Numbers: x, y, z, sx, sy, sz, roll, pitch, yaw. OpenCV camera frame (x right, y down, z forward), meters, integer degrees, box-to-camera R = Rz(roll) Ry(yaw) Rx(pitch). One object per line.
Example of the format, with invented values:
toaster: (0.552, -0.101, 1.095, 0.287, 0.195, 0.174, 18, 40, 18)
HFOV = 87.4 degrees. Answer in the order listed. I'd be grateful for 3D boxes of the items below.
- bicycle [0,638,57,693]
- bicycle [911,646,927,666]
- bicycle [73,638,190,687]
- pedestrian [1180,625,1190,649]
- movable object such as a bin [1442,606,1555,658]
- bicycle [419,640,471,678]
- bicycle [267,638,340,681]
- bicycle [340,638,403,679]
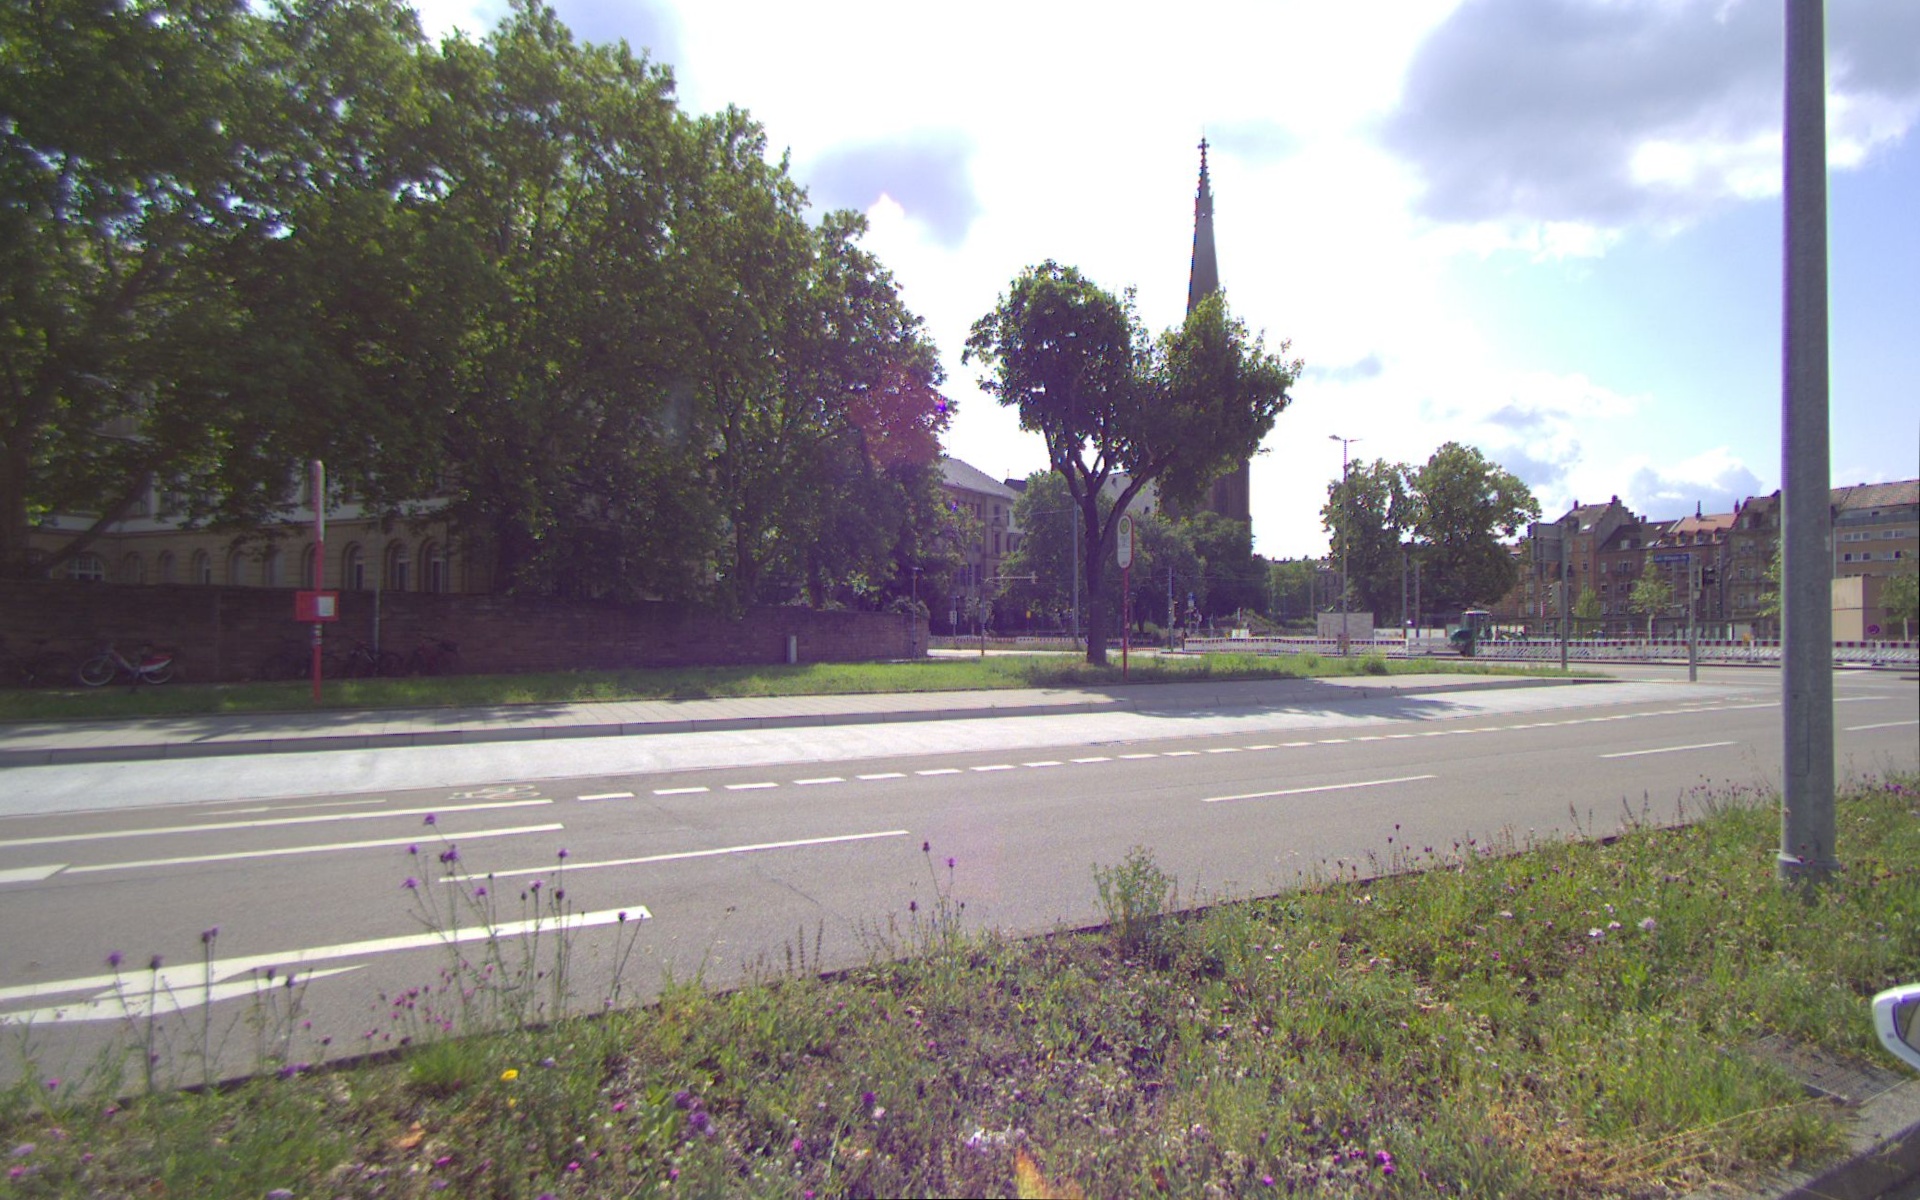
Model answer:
bicycle: (-19.618, 1.334, 20.404, 0.576, 1.087, 1.859, -1, -2, 44)
bicycle: (-2.123, 2.887, 51.918, 0.386, 1.005, 1.524, 0, -2, 14)
bicycle: (-18.355, 1.357, 22.289, 0.465, 1.024, 1.954, -1, -2, 40)
pedestrian: (17.526, 2.902, 78.247, 0.492, 1.874, 0.527, 1, -2, -21)
movable object such as a bin: (31.250, 1.845, 58.509, 5.431, 2.922, 2.289, 0, -2, 16)
bicycle: (-14.362, 1.630, 28.029, 0.348, 1.024, 1.248, -1, -1, 40)
bicycle: (-16.355, 1.473, 25.063, 0.465, 1.024, 1.449, -1, -2, 40)
bicycle: (-15.466, 1.530, 26.418, 0.386, 1.024, 1.363, -1, -1, 40)
